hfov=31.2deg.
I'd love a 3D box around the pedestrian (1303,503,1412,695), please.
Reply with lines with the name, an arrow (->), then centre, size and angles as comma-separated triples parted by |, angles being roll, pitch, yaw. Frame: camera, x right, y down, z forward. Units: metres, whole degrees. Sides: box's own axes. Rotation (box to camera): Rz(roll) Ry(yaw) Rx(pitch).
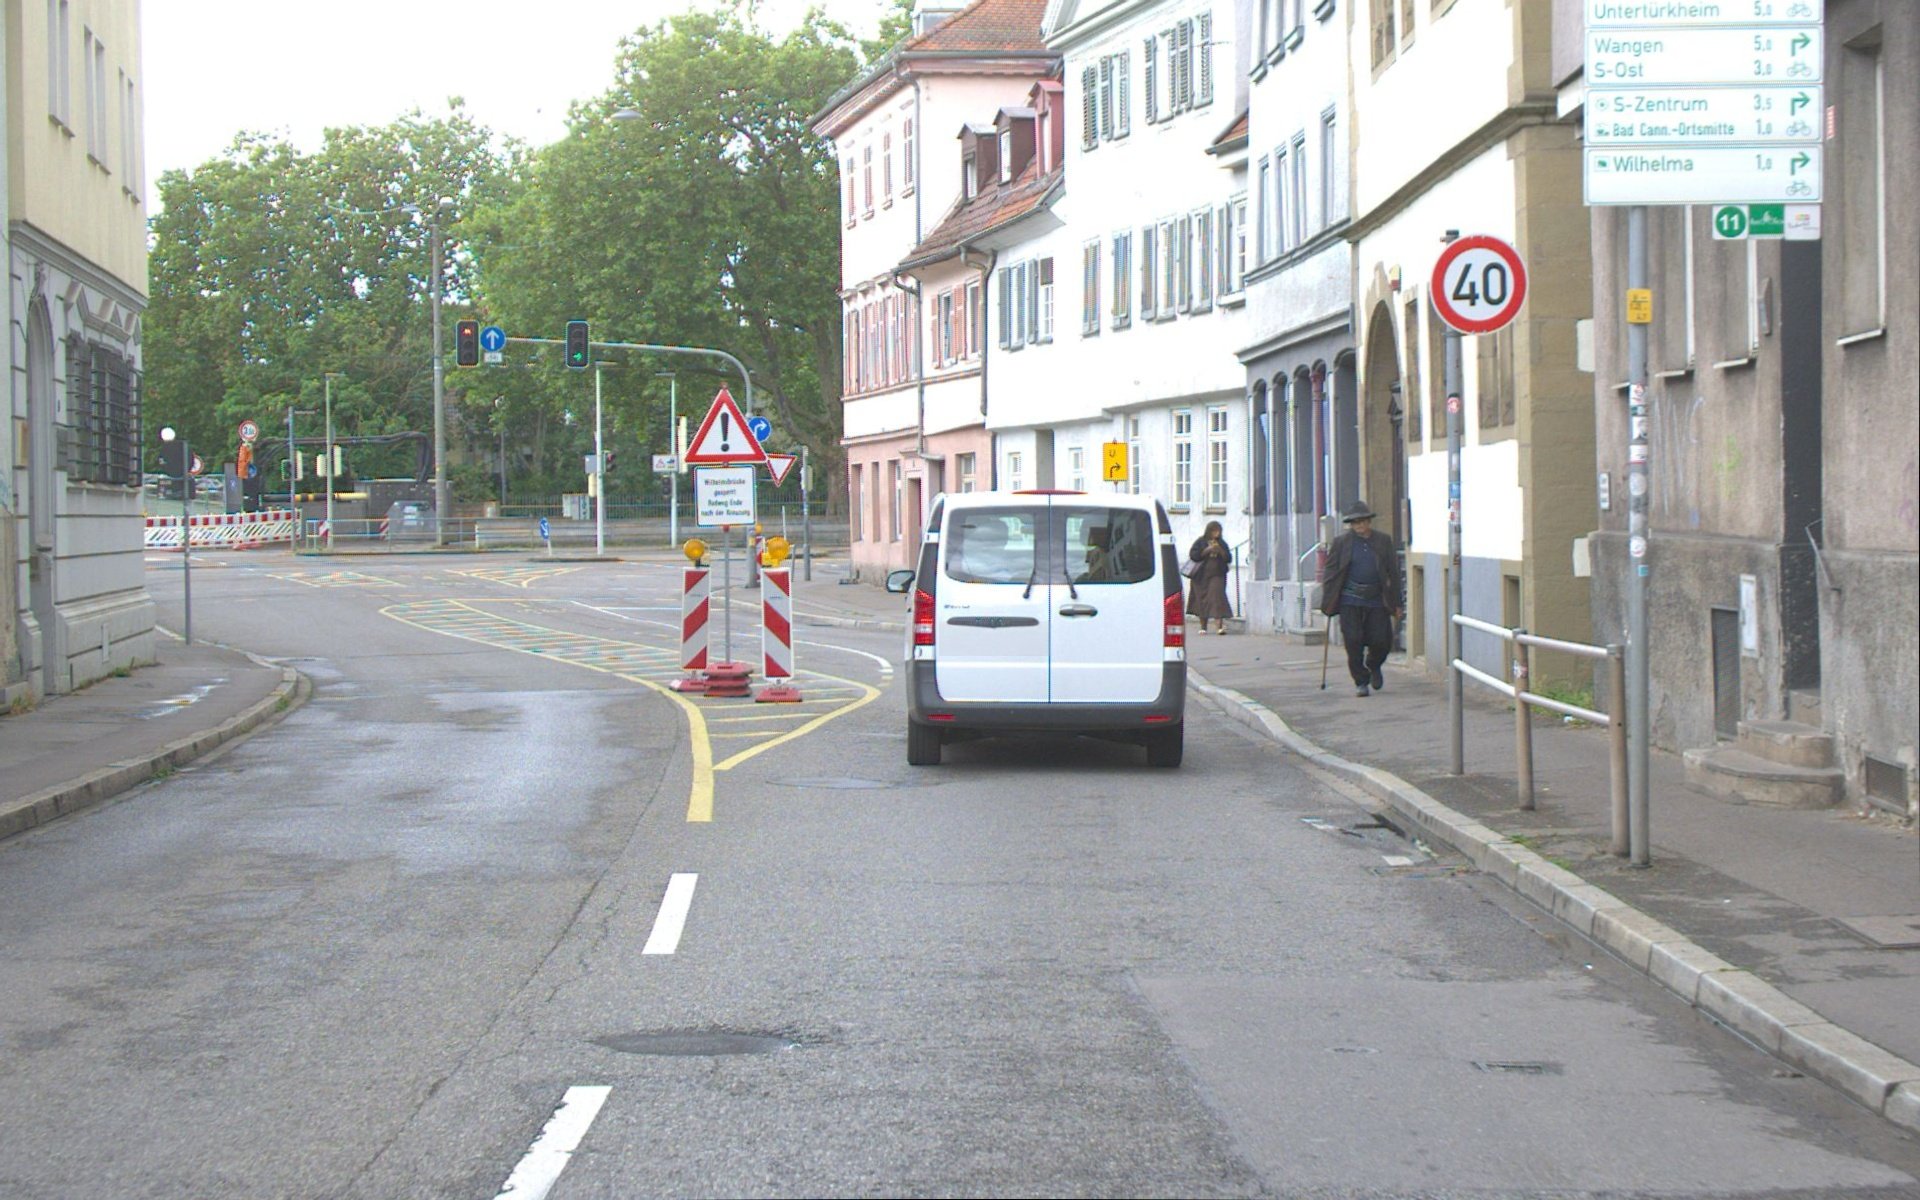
pedestrian -> 3.489, -0.017, 30.210 | 0.832, 1.650, 0.944 | -1, 1, 1

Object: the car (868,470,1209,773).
car -> 0.456, 0.145, 24.308 | 1.993, 1.916, 4.249 | 1, 0, -4

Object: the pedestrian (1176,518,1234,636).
pedestrian -> 3.475, -0.329, 48.751 | 0.755, 1.662, 0.809 | 0, 1, 0
